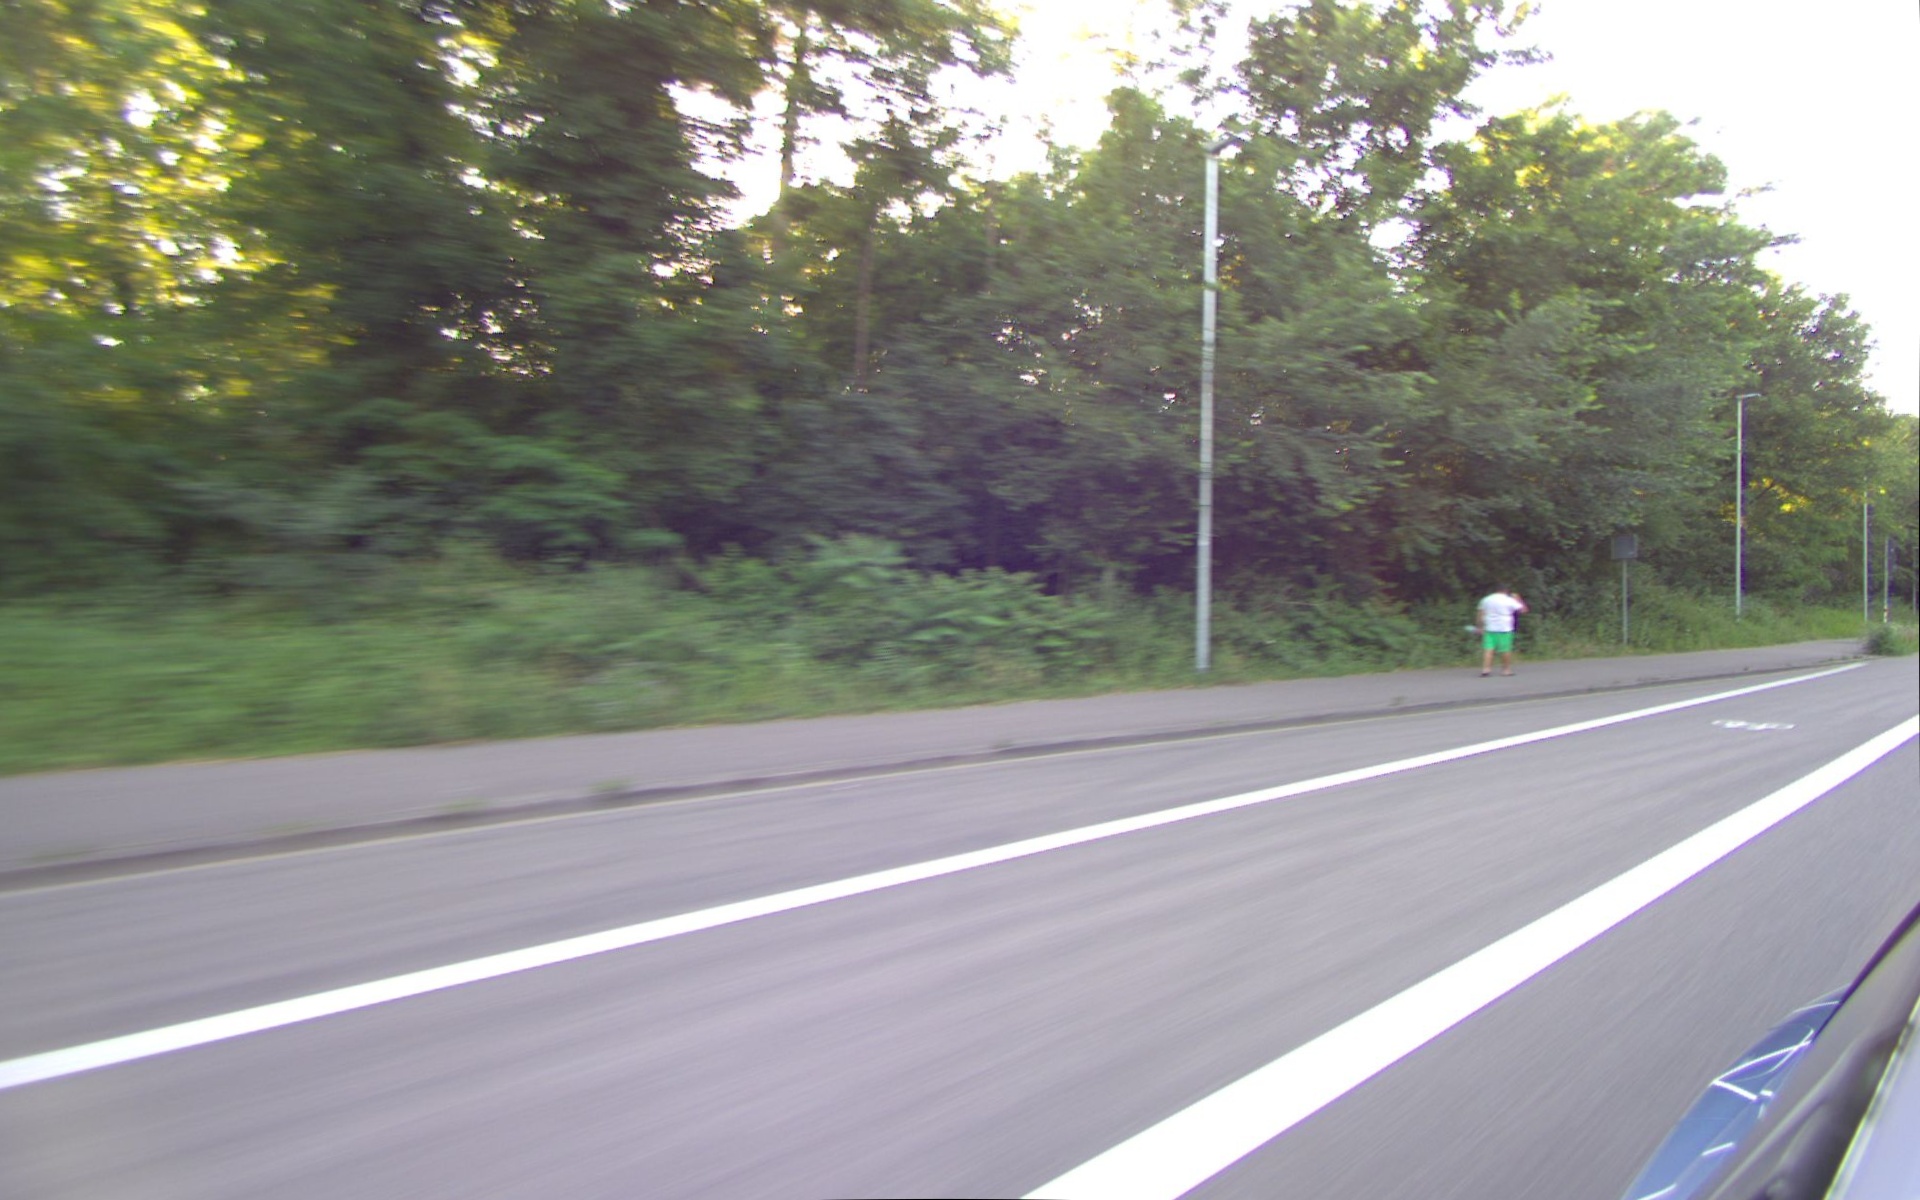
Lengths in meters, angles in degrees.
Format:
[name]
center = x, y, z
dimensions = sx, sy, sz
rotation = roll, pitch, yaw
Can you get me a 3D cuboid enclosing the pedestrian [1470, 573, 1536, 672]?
[pedestrian]
center = 9.941, 0.391, 18.535
dimensions = 0.713, 1.773, 0.840
rotation = 0, 0, -39
